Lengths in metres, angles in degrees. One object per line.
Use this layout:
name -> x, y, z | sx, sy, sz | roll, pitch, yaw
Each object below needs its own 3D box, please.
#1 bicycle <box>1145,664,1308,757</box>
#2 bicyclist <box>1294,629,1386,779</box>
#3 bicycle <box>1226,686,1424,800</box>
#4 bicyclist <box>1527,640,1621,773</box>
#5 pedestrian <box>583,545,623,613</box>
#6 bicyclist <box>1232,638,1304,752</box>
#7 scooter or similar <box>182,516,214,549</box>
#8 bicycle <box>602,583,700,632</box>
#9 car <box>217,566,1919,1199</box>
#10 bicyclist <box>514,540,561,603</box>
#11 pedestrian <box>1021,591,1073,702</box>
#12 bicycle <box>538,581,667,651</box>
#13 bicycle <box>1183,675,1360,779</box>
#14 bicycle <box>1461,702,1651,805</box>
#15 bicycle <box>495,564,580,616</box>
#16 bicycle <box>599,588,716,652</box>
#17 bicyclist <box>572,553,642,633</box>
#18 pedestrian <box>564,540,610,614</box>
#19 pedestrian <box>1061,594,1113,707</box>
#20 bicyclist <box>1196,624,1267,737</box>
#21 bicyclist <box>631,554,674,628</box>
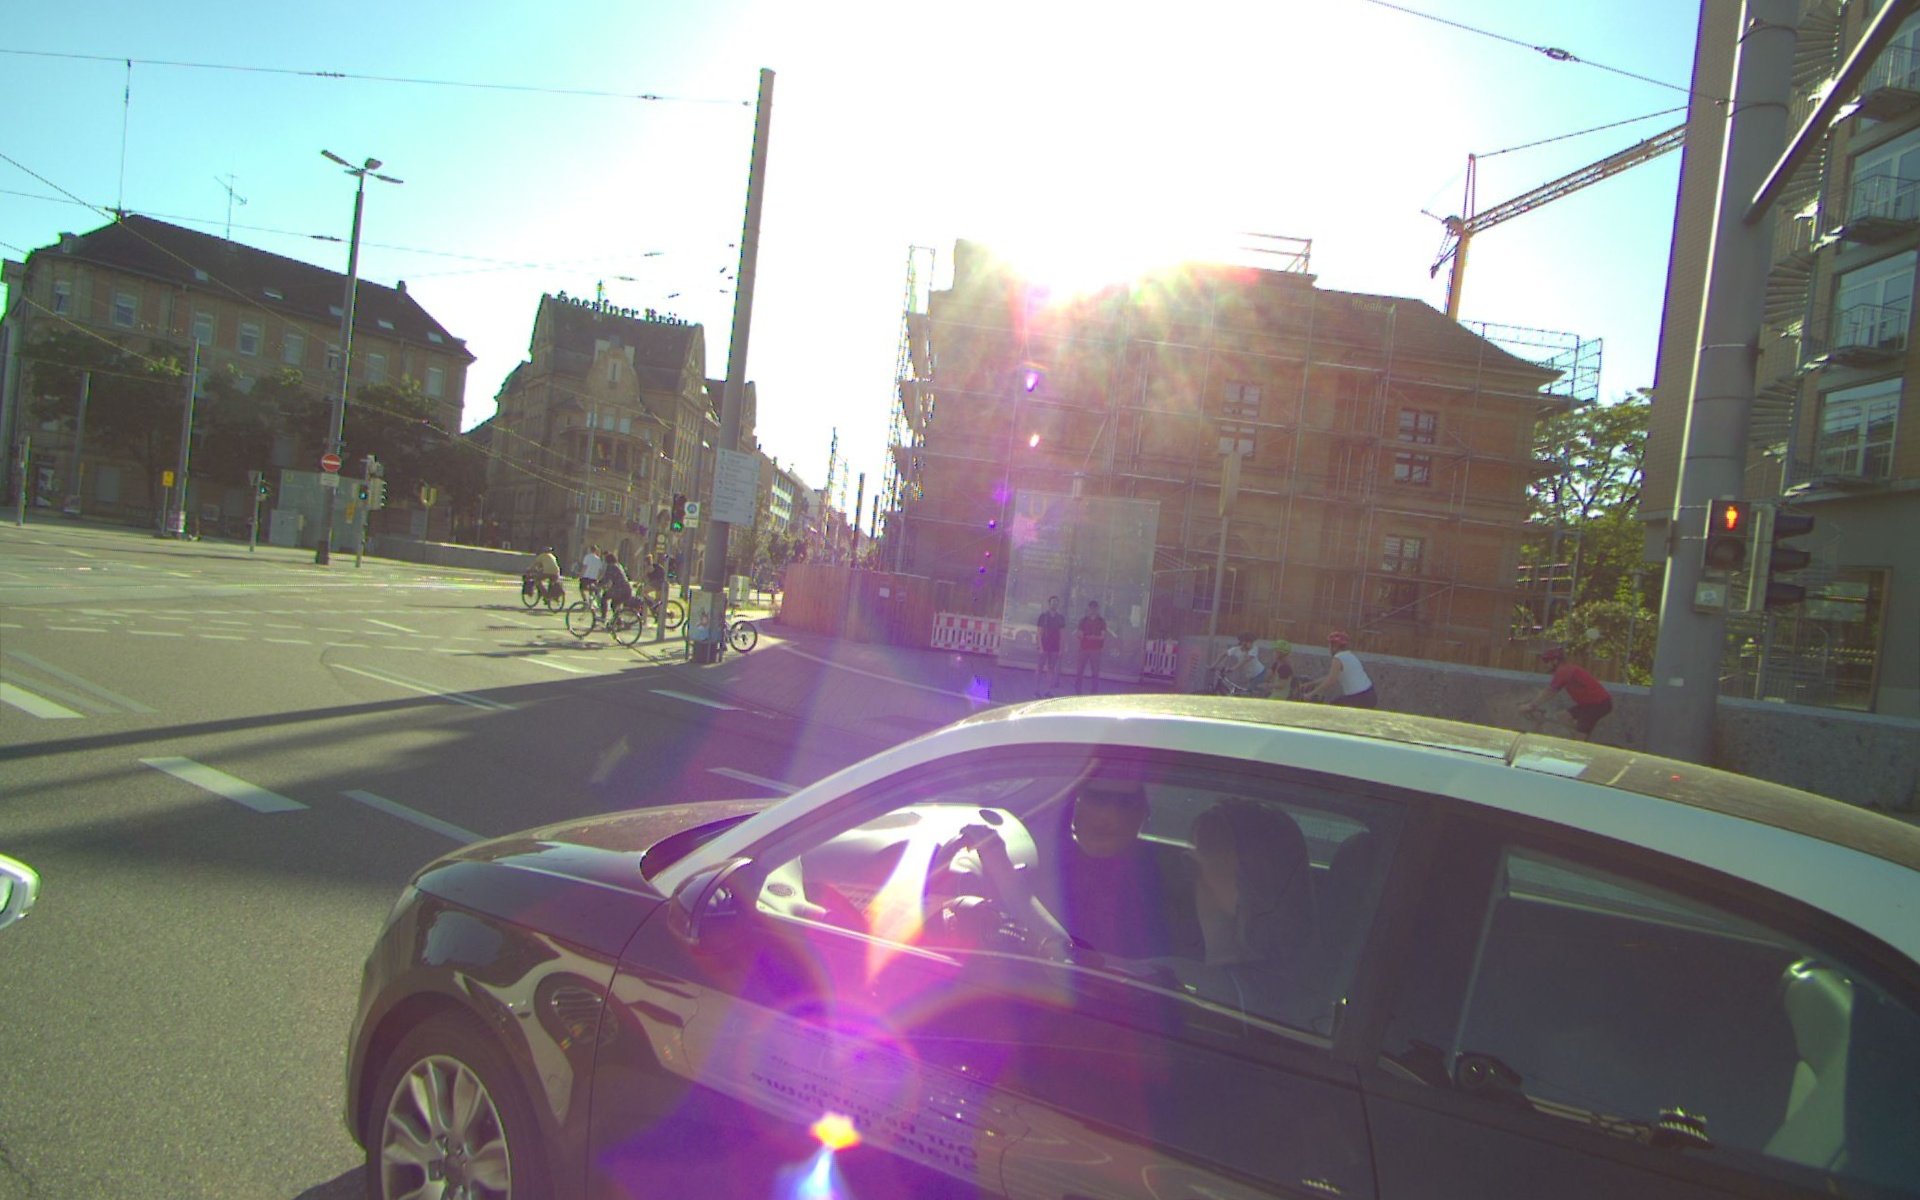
bicycle -> 3.678, 1.526, 14.016 | 1.997, 0.976, 0.660 | 7, 2, 3
bicyclist -> 4.348, 1.168, 11.488 | 0.780, 1.571, 0.668 | 6, -1, 26
bicycle -> 4.168, 1.599, 11.544 | 1.999, 0.974, 0.660 | 6, -1, 25
bicyclist -> 7.903, 1.357, 12.946 | 0.858, 1.579, 0.616 | 6, -1, 35
pedestrian -> -10.768, -0.623, 30.368 | 0.678, 1.945, 0.649 | 6, -1, 23
bicyclist -> 3.931, 1.201, 12.820 | 0.661, 1.330, 0.617 | 6, -1, 26
scooter or similar -> -34.573, -3.066, 45.622 | 1.884, 1.392, 0.784 | 5, -2, 45
bicycle -> -7.881, 0.202, 25.712 | 2.290, 1.063, 0.532 | 4, 3, -26
car -> 0.583, 0.879, 1.860 | 3.932, 1.421, 1.627 | 6, -2, 30
bicyclist -> -11.341, -0.762, 27.009 | 0.930, 1.575, 0.516 | 6, -1, 23
pedestrian -> 1.516, 0.792, 17.458 | 0.672, 1.831, 0.672 | 6, 2, 9
bicycle -> -7.121, 0.330, 20.048 | 2.276, 1.062, 0.701 | 8, 0, 12
bicycle -> 3.950, 1.580, 12.800 | 1.999, 0.976, 0.659 | 6, 2, 25
bicycle -> 7.708, 1.952, 13.064 | 2.004, 0.975, 0.658 | 6, 0, 36
bicycle -> -11.341, -0.273, 26.970 | 2.278, 1.062, 0.536 | 8, 0, 22
bicycle -> -6.302, 0.410, 20.941 | 2.278, 1.062, 0.701 | 6, -1, 22
bicyclist -> -7.017, -0.132, 20.020 | 0.929, 1.456, 0.711 | 6, -1, 13
pedestrian -> -11.003, -0.677, 29.688 | 0.747, 2.037, 0.733 | 6, -1, 23
pedestrian -> 2.196, 0.871, 17.321 | 0.672, 1.828, 0.672 | 6, -1, 9
bicyclist -> 3.770, 1.110, 14.007 | 0.661, 1.471, 0.618 | 7, -1, 1
bicyclist -> -7.855, -0.218, 25.708 | 0.782, 1.800, 0.522 | 7, -1, -10
